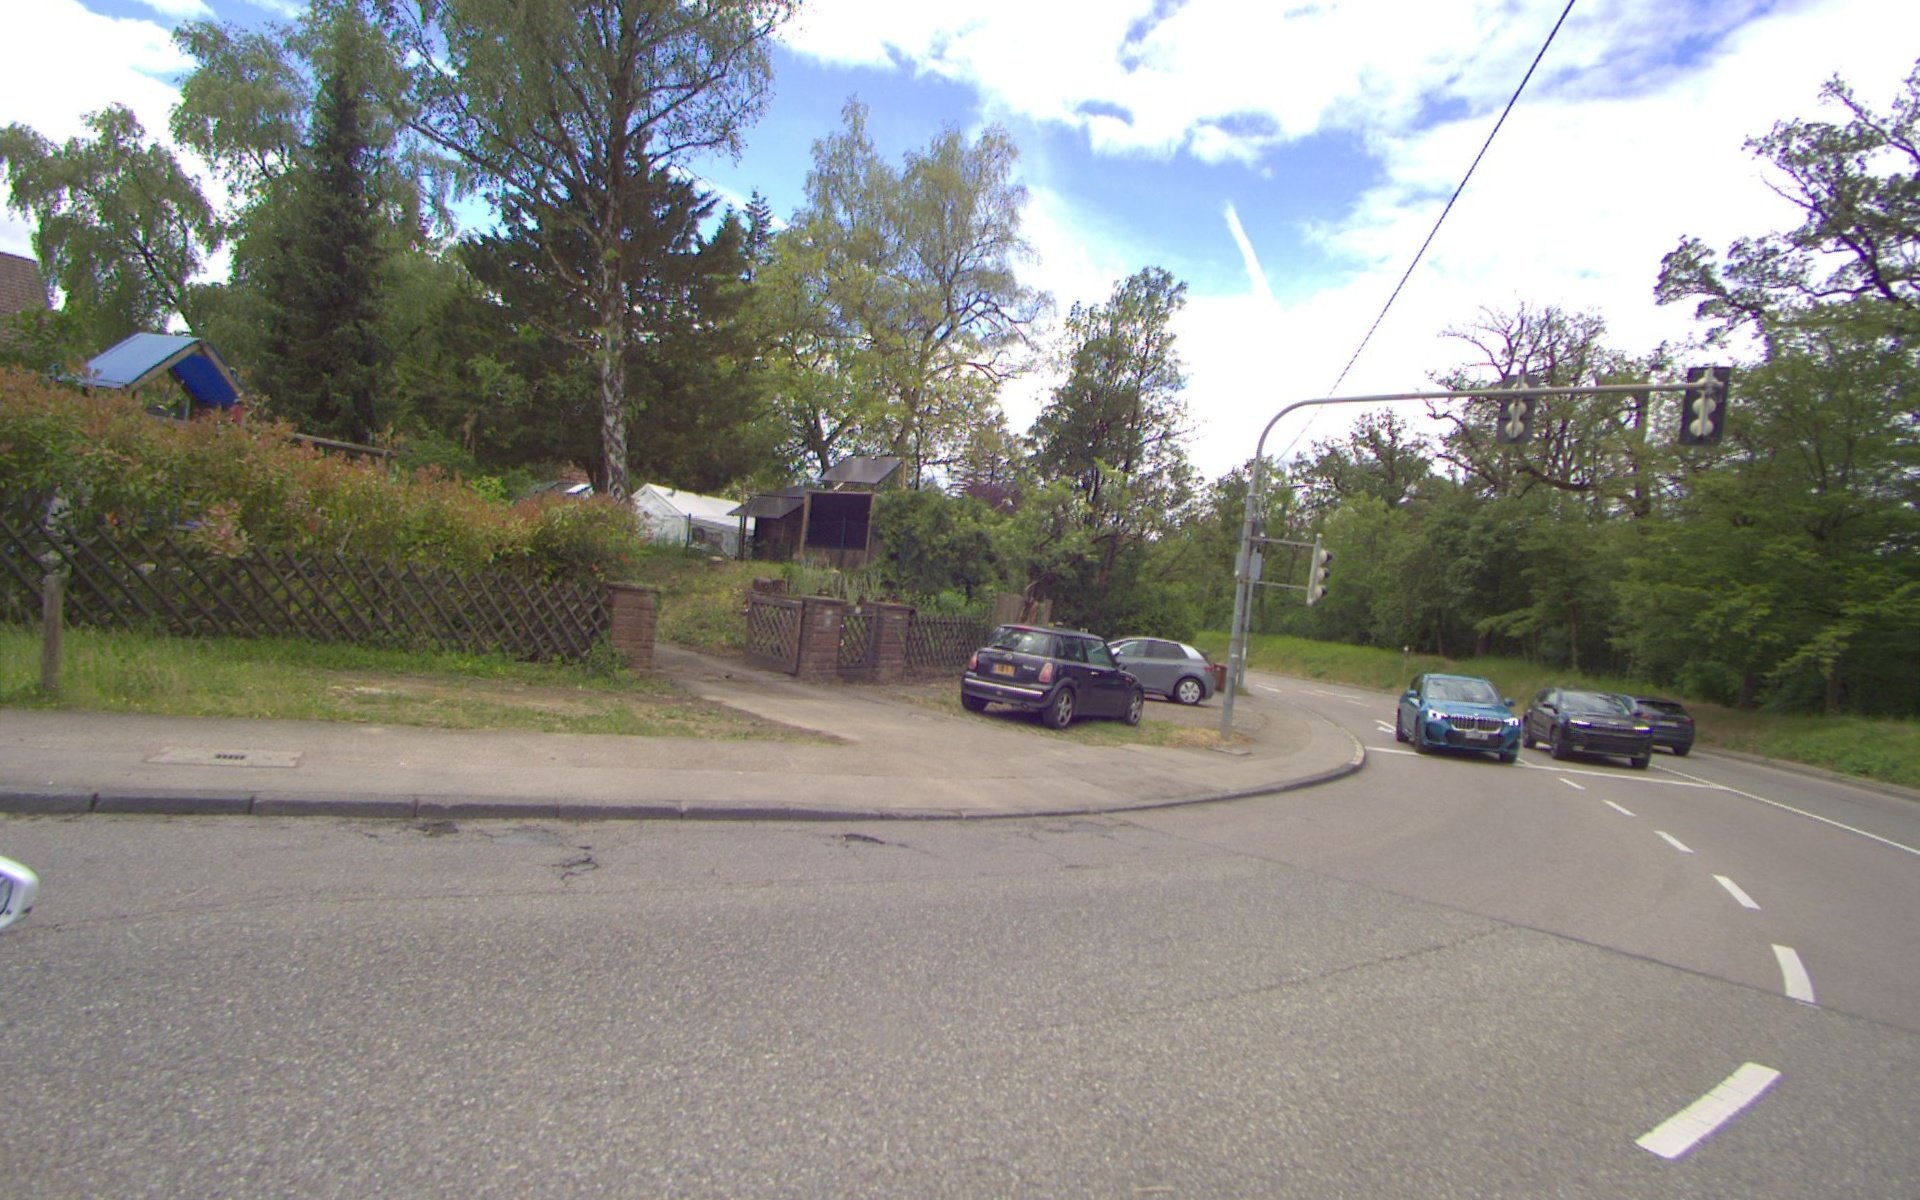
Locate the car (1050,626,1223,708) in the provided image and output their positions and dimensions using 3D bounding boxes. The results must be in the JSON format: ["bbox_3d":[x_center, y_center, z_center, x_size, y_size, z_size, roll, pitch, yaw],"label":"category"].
[{"bbox_3d":[4.382,1.683,25.363,3.926,1.542,1.663,7,-3,-1],"label":"car"}]

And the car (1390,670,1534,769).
[{"bbox_3d":[10.372,2.394,21.087,1.879,1.596,4.001,4,-1,16],"label":"car"}]

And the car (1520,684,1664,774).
[{"bbox_3d":[13.937,2.778,22.439,1.705,1.525,4.001,4,-1,18],"label":"car"}]

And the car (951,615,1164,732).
[{"bbox_3d":[1.620,1.145,15.668,1.630,1.408,3.595,8,0,34],"label":"car"}]

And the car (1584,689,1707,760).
[{"bbox_3d":[18.885,3.379,27.908,1.673,1.463,4.001,6,-1,18],"label":"car"}]
